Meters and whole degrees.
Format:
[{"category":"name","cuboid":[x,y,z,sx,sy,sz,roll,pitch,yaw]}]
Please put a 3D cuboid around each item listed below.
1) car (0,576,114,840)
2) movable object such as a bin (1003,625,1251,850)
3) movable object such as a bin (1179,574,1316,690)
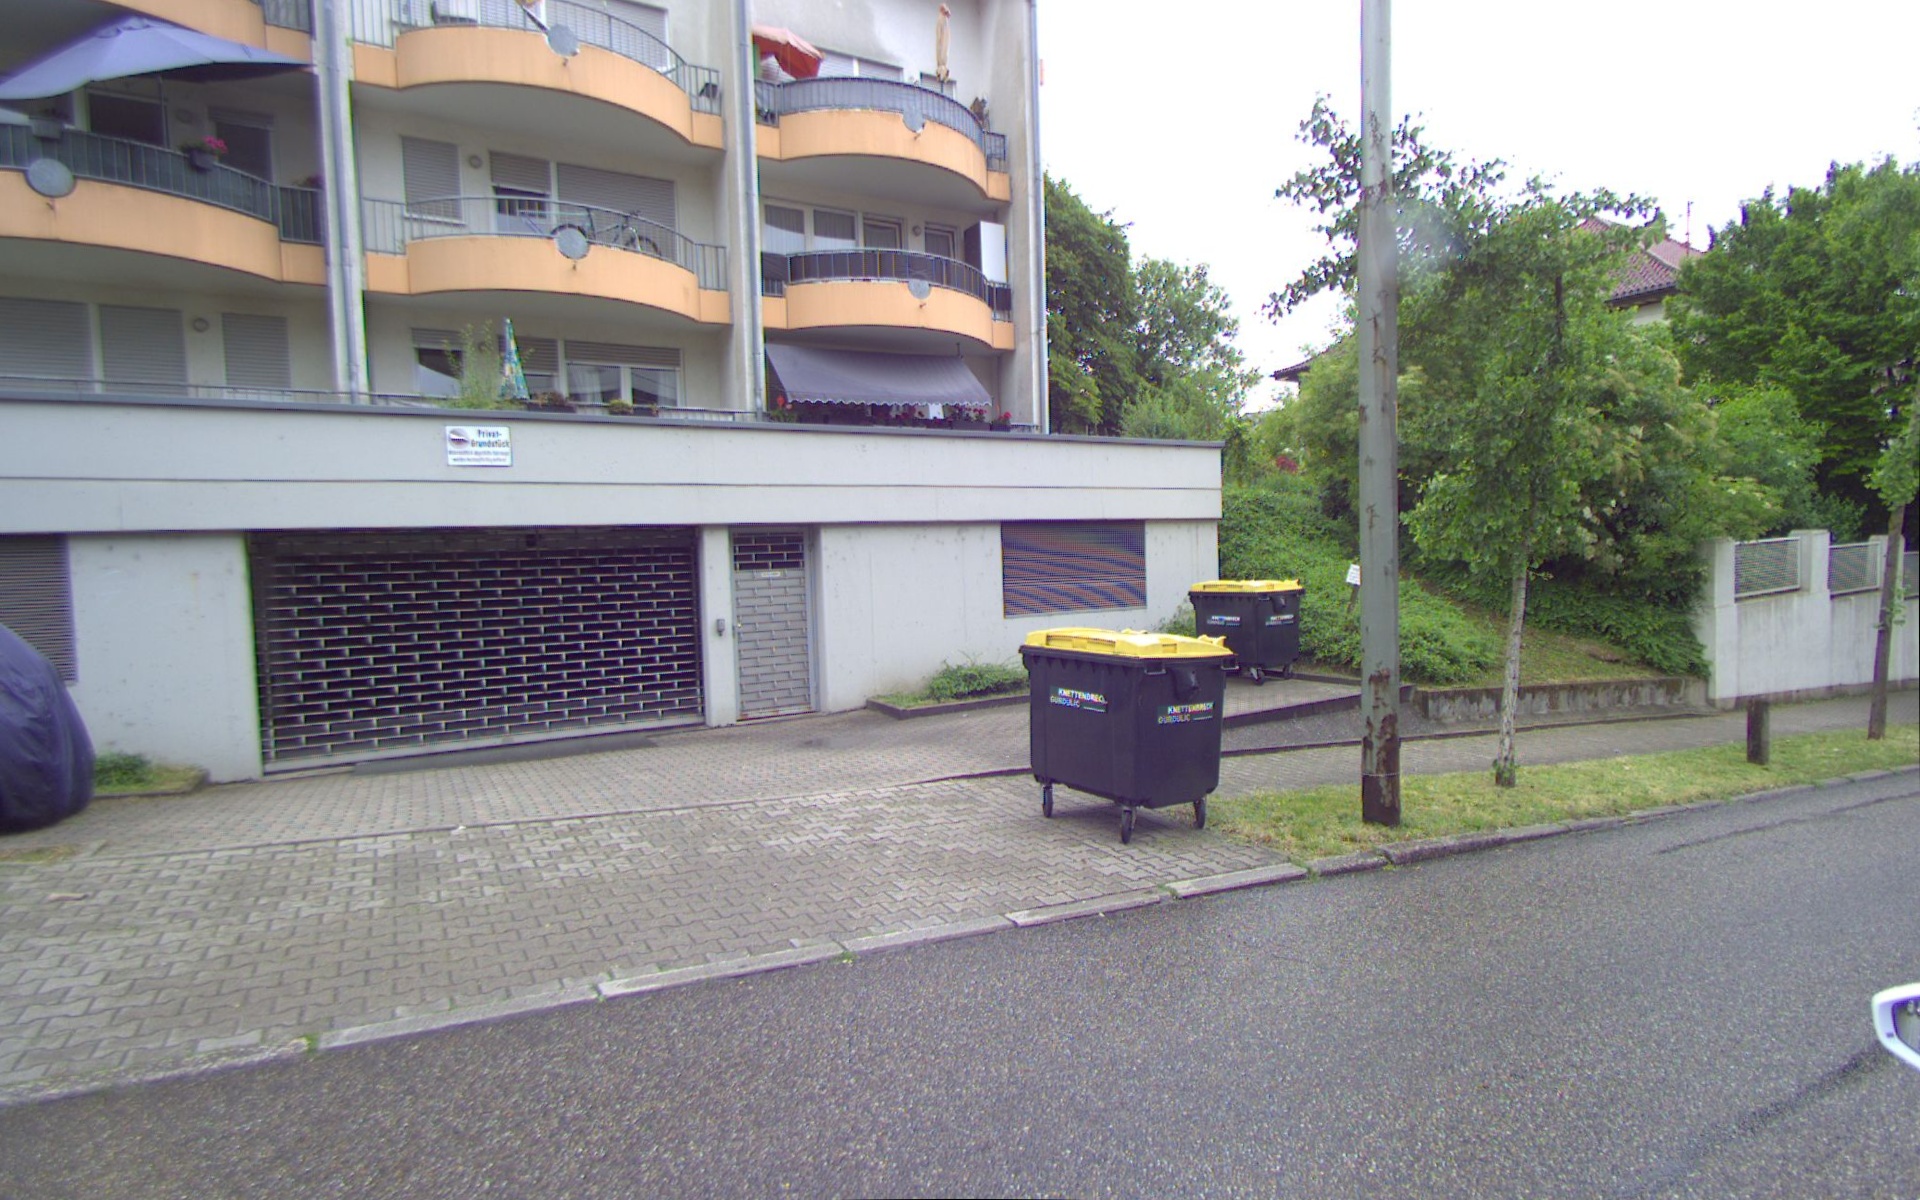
[{"category":"car","cuboid":[-7.779,0.662,5.855,4.050,1.582,1.770,1,-4,-31]},{"category":"movable object such as a bin","cuboid":[1.160,0.879,7.114,1.145,1.324,1.288,0,2,-38]},{"category":"movable object such as a bin","cuboid":[3.885,0.385,13.610,1.215,1.383,1.289,-7,6,-36]}]
